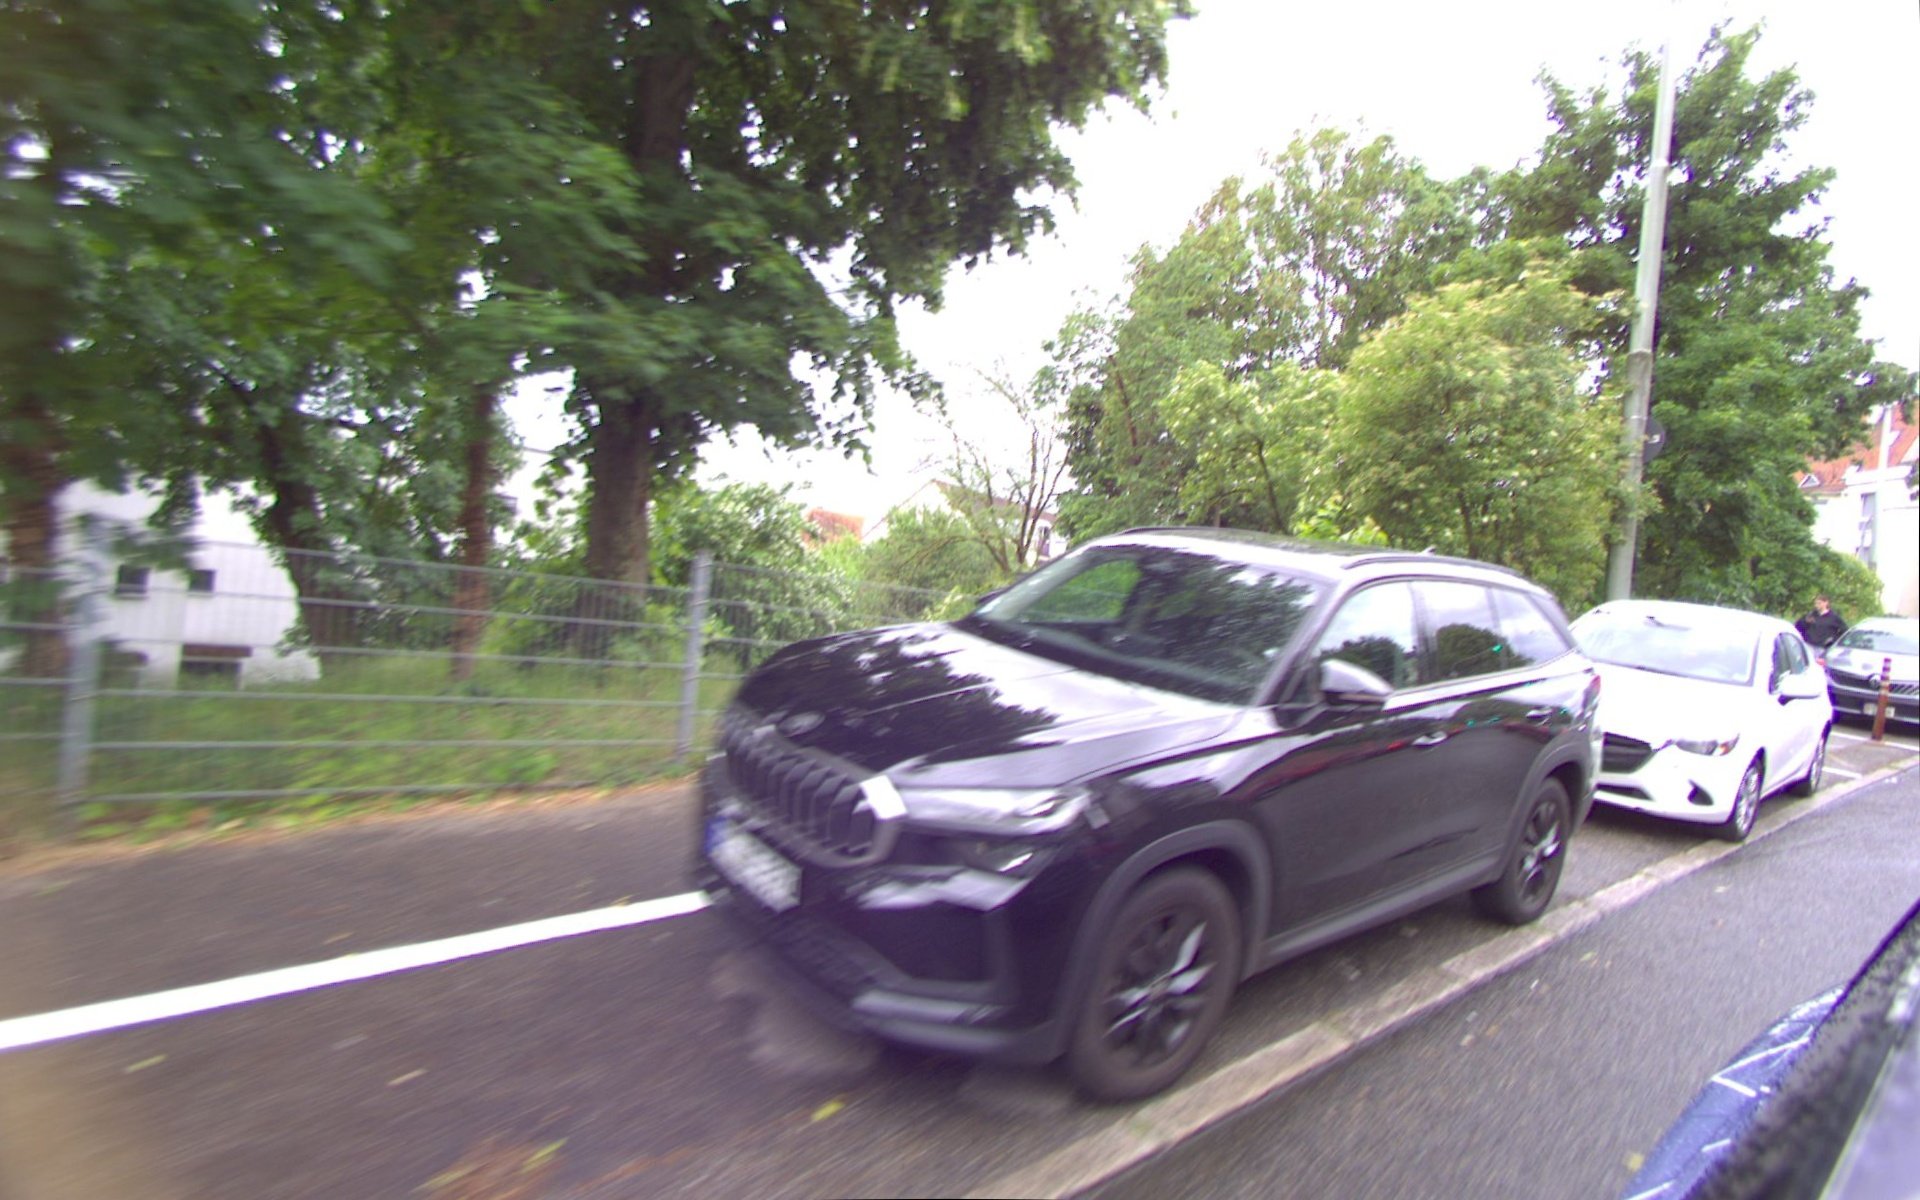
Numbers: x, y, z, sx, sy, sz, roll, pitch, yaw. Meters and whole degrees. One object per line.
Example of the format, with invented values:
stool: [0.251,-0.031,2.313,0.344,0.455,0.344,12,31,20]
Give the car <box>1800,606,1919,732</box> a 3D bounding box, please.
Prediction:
car: [13.292,0.912,13.976,3.742,1.420,1.656,1,7,-37]

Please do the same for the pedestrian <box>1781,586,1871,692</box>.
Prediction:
pedestrian: [14.185,0.635,16.579,0.947,1.624,0.769,3,4,-35]

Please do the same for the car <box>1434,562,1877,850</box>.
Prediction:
car: [5.626,0.634,8.009,3.930,1.511,1.821,1,8,-41]

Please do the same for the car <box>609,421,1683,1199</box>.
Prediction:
car: [1.196,0.458,4.373,4.716,1.703,1.827,2,4,-39]
